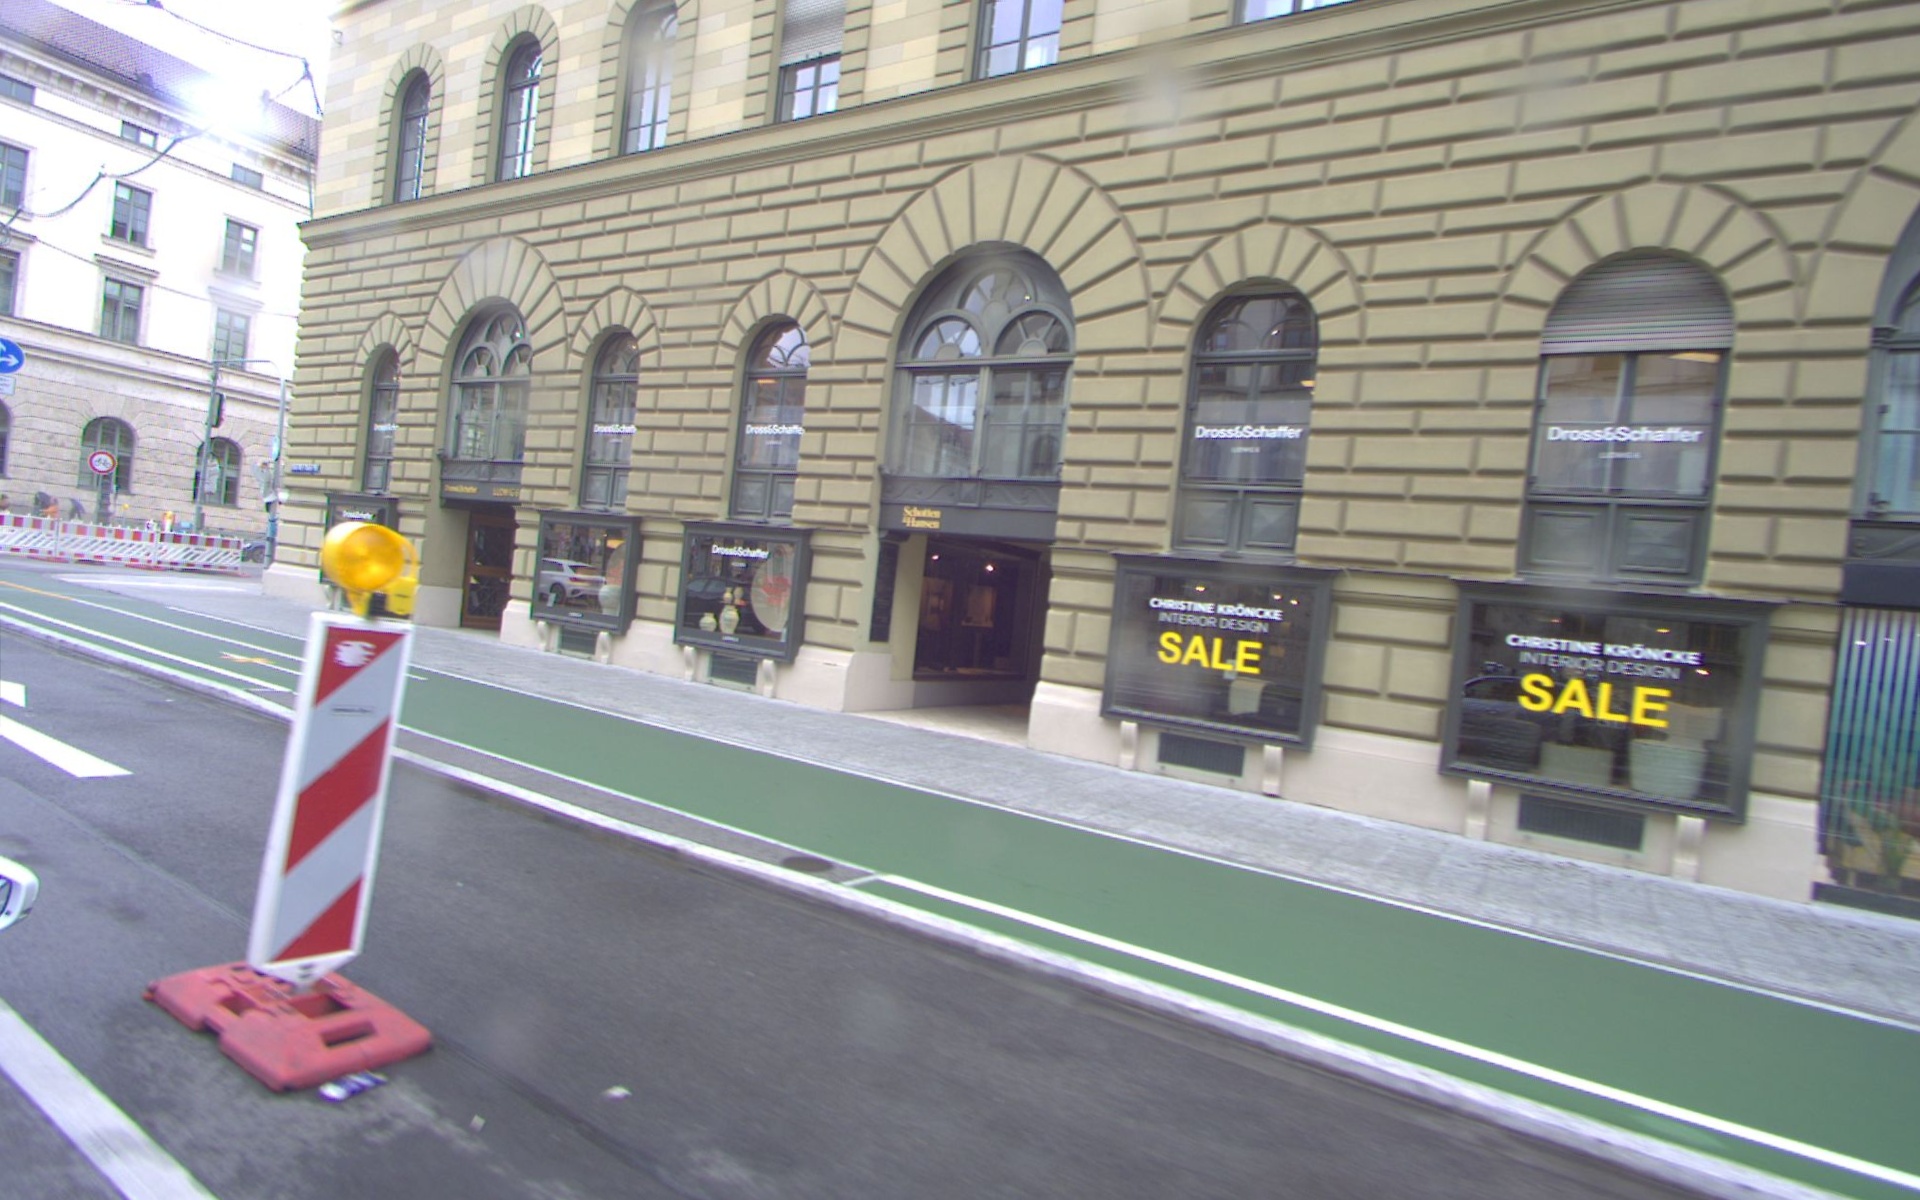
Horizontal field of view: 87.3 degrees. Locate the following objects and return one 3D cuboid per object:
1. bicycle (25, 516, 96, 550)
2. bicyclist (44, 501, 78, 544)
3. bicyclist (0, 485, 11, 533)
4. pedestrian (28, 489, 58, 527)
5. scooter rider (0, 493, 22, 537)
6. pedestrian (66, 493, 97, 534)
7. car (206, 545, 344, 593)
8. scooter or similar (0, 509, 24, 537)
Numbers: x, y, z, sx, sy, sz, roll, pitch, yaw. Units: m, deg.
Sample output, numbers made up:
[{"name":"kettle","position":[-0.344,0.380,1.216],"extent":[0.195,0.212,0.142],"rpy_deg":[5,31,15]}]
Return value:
[{"name":"bicycle","position":[-36.999,-2.746,41.401],"extent":[0.782,1.053,1.960],"rpy_deg":[7,-1,34]},{"name":"bicyclist","position":[-36.970,-3.170,41.365],"extent":[0.782,1.634,0.744],"rpy_deg":[7,0,35]},{"name":"bicyclist","position":[-37.983,-3.625,39.511],"extent":[0.650,1.864,0.744],"rpy_deg":[7,0,35]},{"name":"pedestrian","position":[-40.988,-4.113,44.958],"extent":[0.806,1.545,0.666],"rpy_deg":[7,0,31]},{"name":"scooter rider","position":[-37.258,-3.334,39.101],"extent":[0.583,1.642,0.933],"rpy_deg":[7,0,33]},{"name":"pedestrian","position":[-39.935,-3.930,45.744],"extent":[0.807,1.714,0.716],"rpy_deg":[7,0,33]},{"name":"car","position":[-27.889,-1.224,41.099],"extent":[1.721,1.404,4.233],"rpy_deg":[5,-2,31]},{"name":"scooter or similar","position":[-37.306,-3.029,39.082],"extent":[0.578,0.976,1.212],"rpy_deg":[7,-1,33]}]
